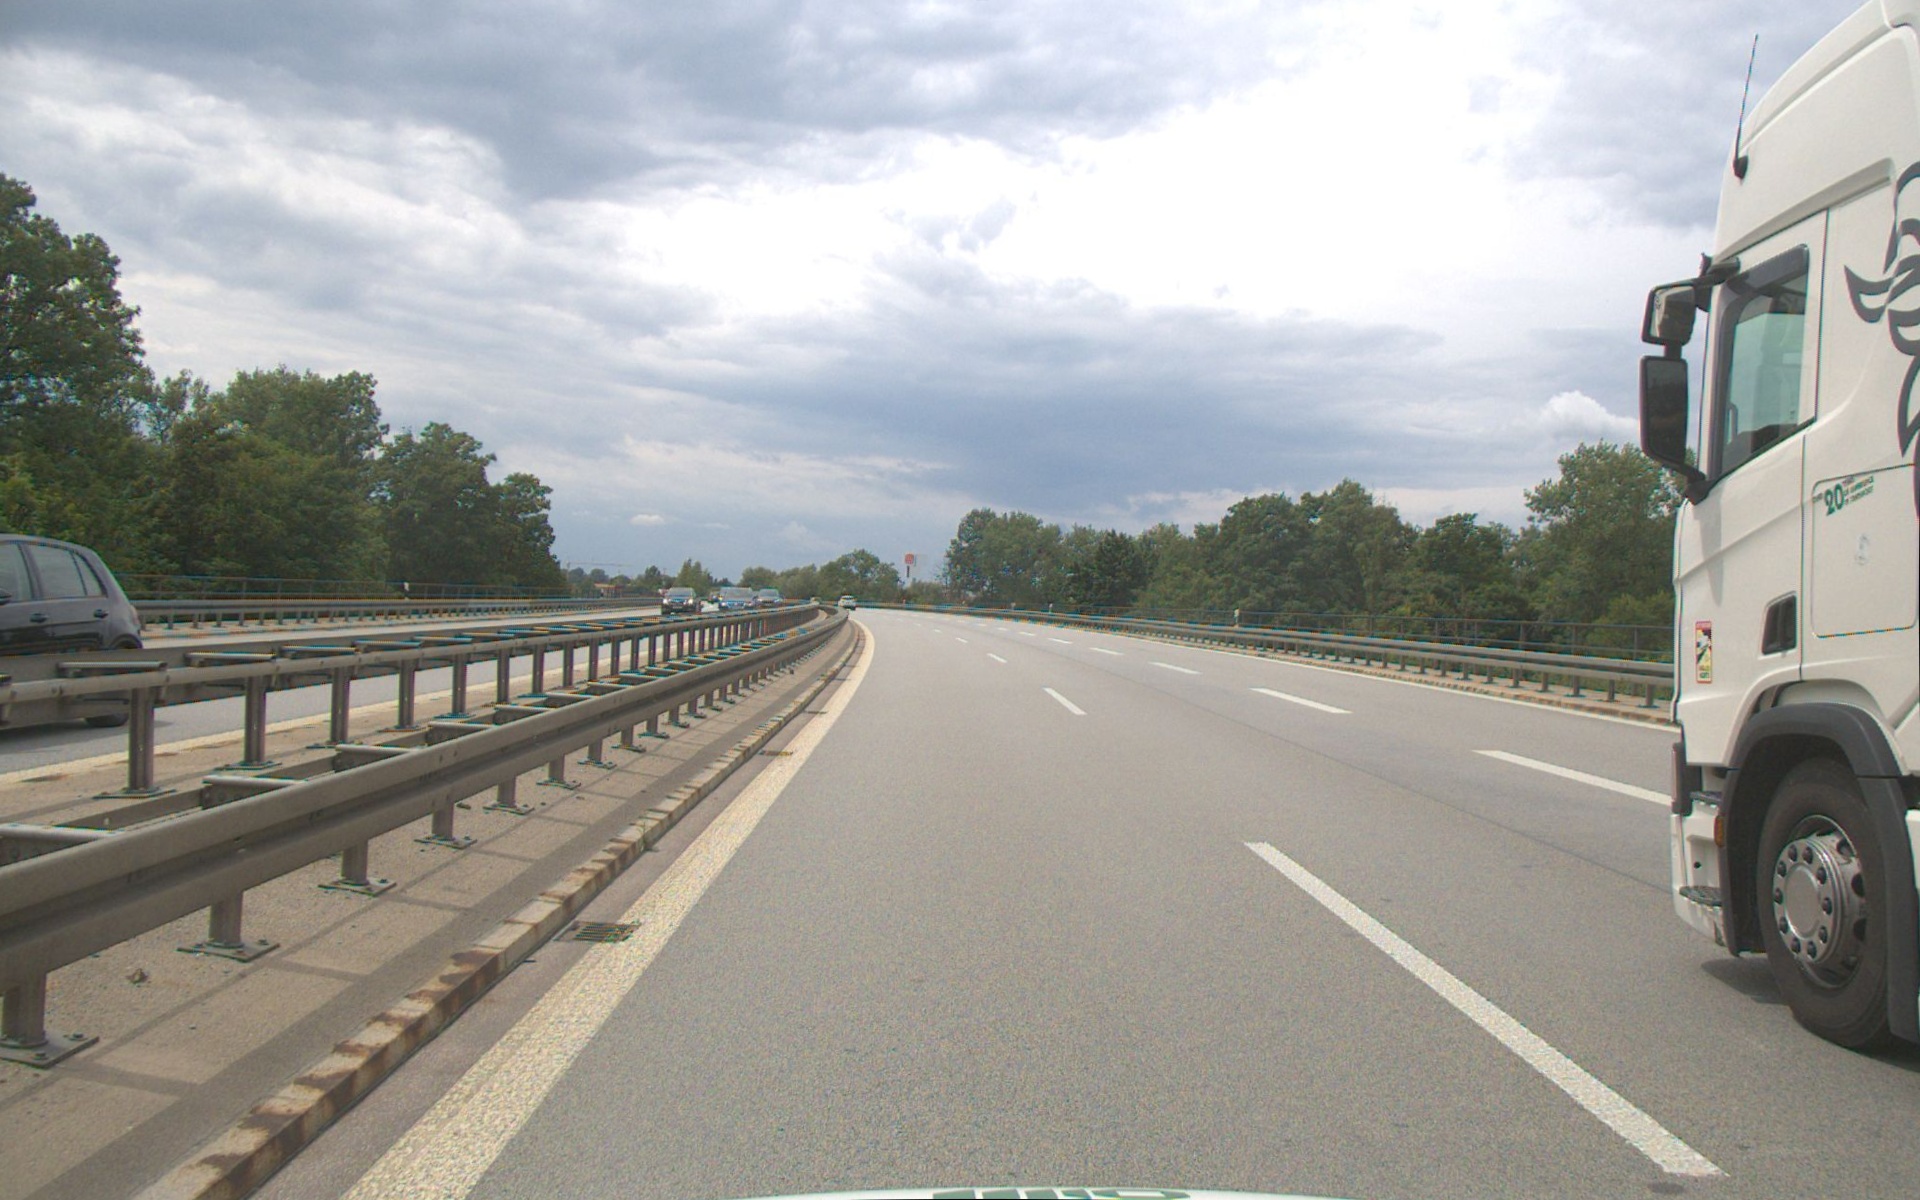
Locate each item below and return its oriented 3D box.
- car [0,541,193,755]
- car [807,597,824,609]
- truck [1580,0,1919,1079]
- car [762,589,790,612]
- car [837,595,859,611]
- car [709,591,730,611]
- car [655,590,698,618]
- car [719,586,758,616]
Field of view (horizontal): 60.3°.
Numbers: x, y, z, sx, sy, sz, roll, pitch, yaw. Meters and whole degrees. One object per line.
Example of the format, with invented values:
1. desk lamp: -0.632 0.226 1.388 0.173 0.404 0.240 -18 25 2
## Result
1. car: -7.115 0.311 11.506 1.651 1.400 4.357 0 0 -2
2. car: -20.573 0.392 235.861 1.859 1.668 4.607 0 1 -13
3. truck: 4.445 -0.498 4.829 2.999 3.960 6.000 1 0 0
4. car: -12.522 -0.006 112.725 1.658 1.462 4.107 2 0 -4
5. car: -13.140 0.327 193.929 1.869 1.668 4.383 2 1 -12
6. car: -20.370 0.086 140.249 1.619 1.568 3.994 2 0 -7
7. car: -15.077 0.199 88.213 1.703 1.434 4.939 2 0 -4
8. car: -10.912 0.029 81.626 1.619 1.391 4.145 1 0 -4
